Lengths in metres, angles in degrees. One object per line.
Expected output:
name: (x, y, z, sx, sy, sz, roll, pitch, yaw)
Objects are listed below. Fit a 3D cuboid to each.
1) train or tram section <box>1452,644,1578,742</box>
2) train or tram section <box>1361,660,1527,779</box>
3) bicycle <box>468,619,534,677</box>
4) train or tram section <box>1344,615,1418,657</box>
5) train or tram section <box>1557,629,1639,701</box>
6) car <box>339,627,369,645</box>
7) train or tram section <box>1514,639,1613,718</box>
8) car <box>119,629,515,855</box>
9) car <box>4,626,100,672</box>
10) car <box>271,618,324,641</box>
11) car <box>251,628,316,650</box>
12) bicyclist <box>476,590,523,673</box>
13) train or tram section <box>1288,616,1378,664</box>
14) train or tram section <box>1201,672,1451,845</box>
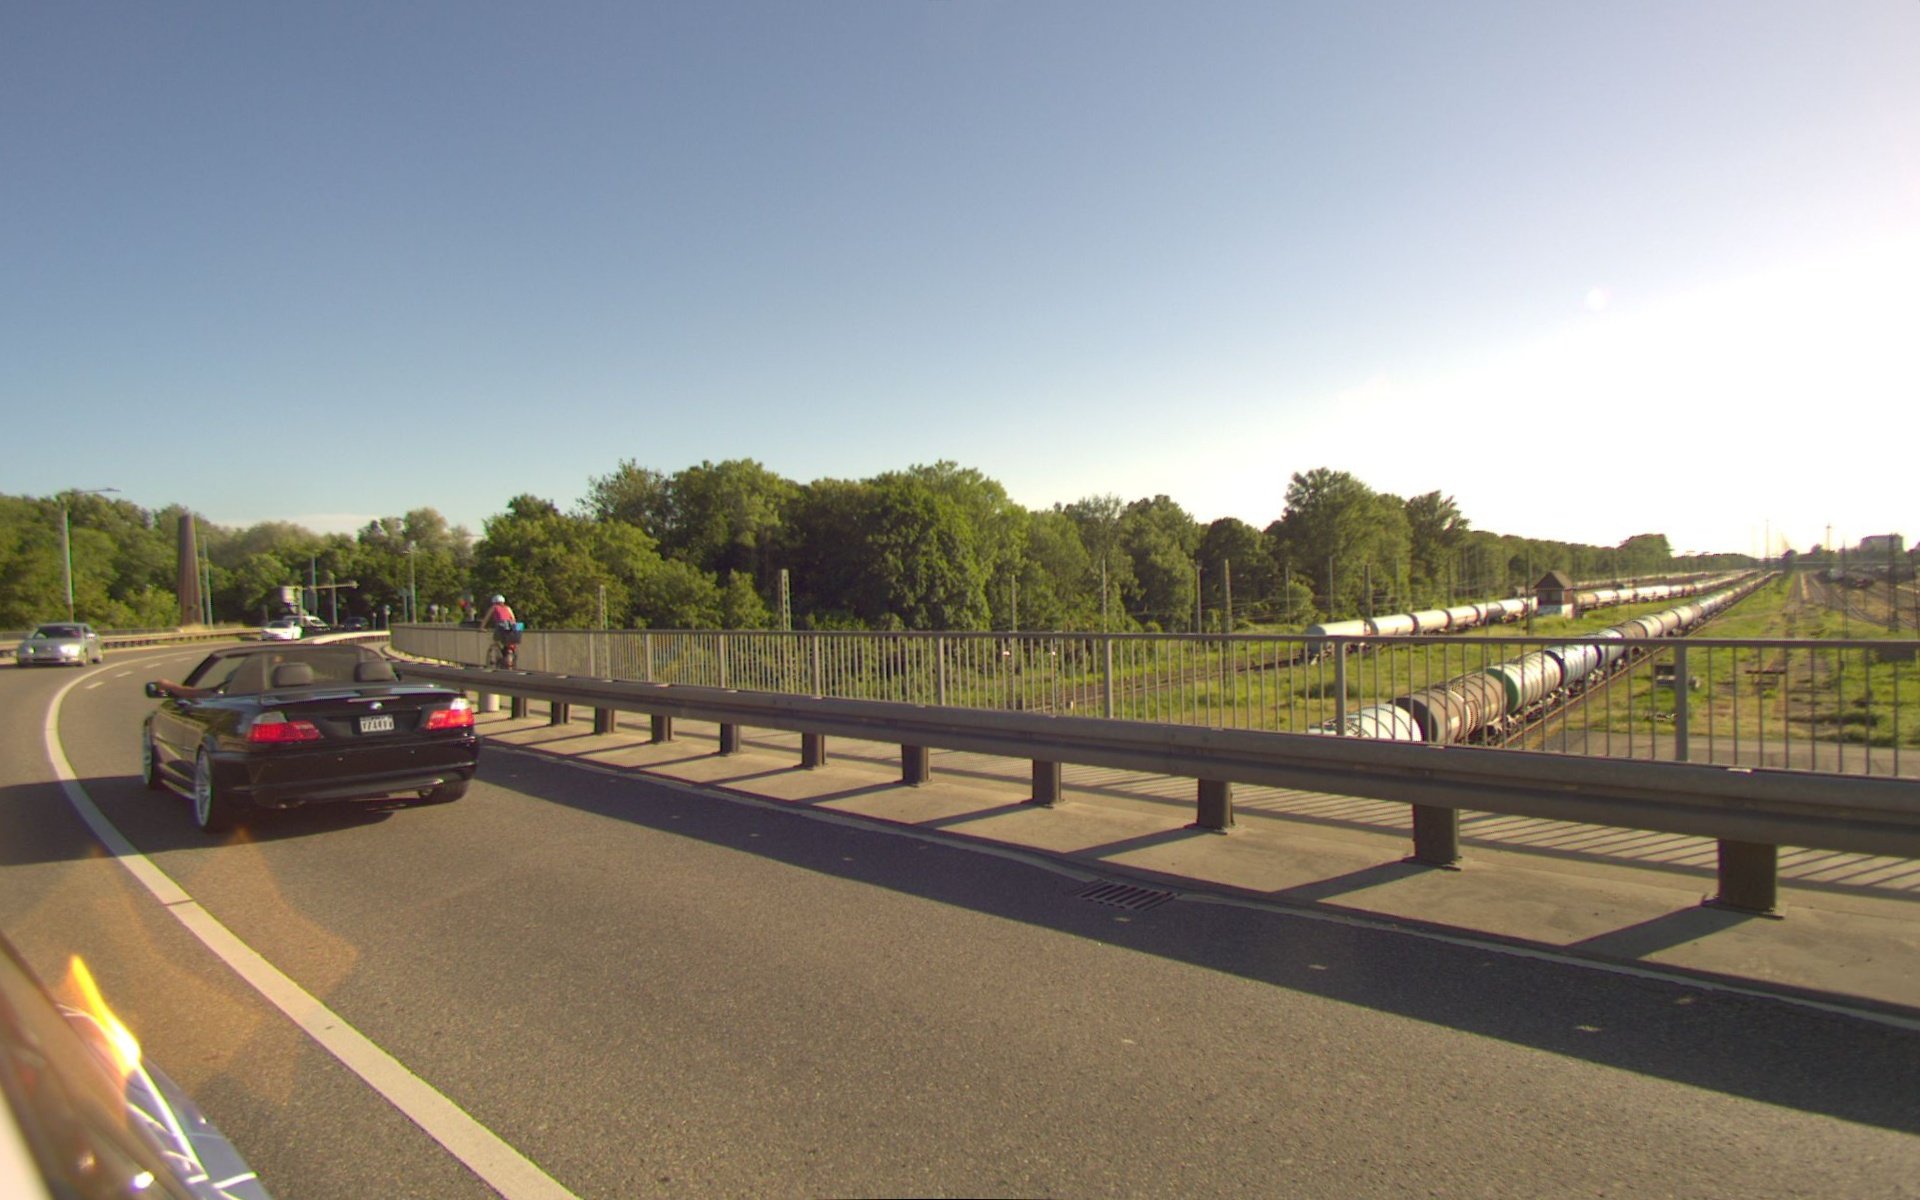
train or tram section: (36.173, 5.665, 65.400, 3.903, 5.054, 16.444, -2, -1, 40)
train or tram section: (25.708, 5.800, 52.915, 3.903, 4.626, 16.094, -2, -1, 40)
bicycle: (-9.088, 0.929, 20.006, 0.646, 1.073, 1.892, 0, -1, -42)
train or tram section: (56.387, 4.682, 135.035, 4.045, 5.125, 17.949, -2, -1, 39)
train or tram section: (57.122, 5.534, 90.333, 3.903, 5.561, 16.284, -2, -1, 40)
car: (-60.846, 3.595, 101.685, 1.890, 1.630, 3.754, 0, -1, -19)
train or tram section: (46.673, 5.725, 77.898, 3.903, 5.054, 16.147, -2, -1, 40)
car: (-5.430, 0.935, 8.309, 4.181, 1.365, 1.726, -2, -1, 42)
car: (-30.672, 1.607, 34.313, 1.736, 1.447, 4.342, 0, -1, -32)
car: (-81.833, 3.612, 124.979, 5.647, 2.518, 2.107, -3, -1, 12)
car: (-48.713, 2.782, 73.007, 1.966, 1.484, 4.130, -1, -1, 0)
bicyclist: (-9.115, 0.617, 20.040, 0.646, 1.601, 0.769, 0, -1, -42)
train or tram section: (44.689, 4.608, 120.624, 4.045, 5.125, 19.099, -2, -1, 39)
train or tram section: (15.225, 5.677, 40.397, 3.903, 4.626, 16.544, -2, -1, 40)
